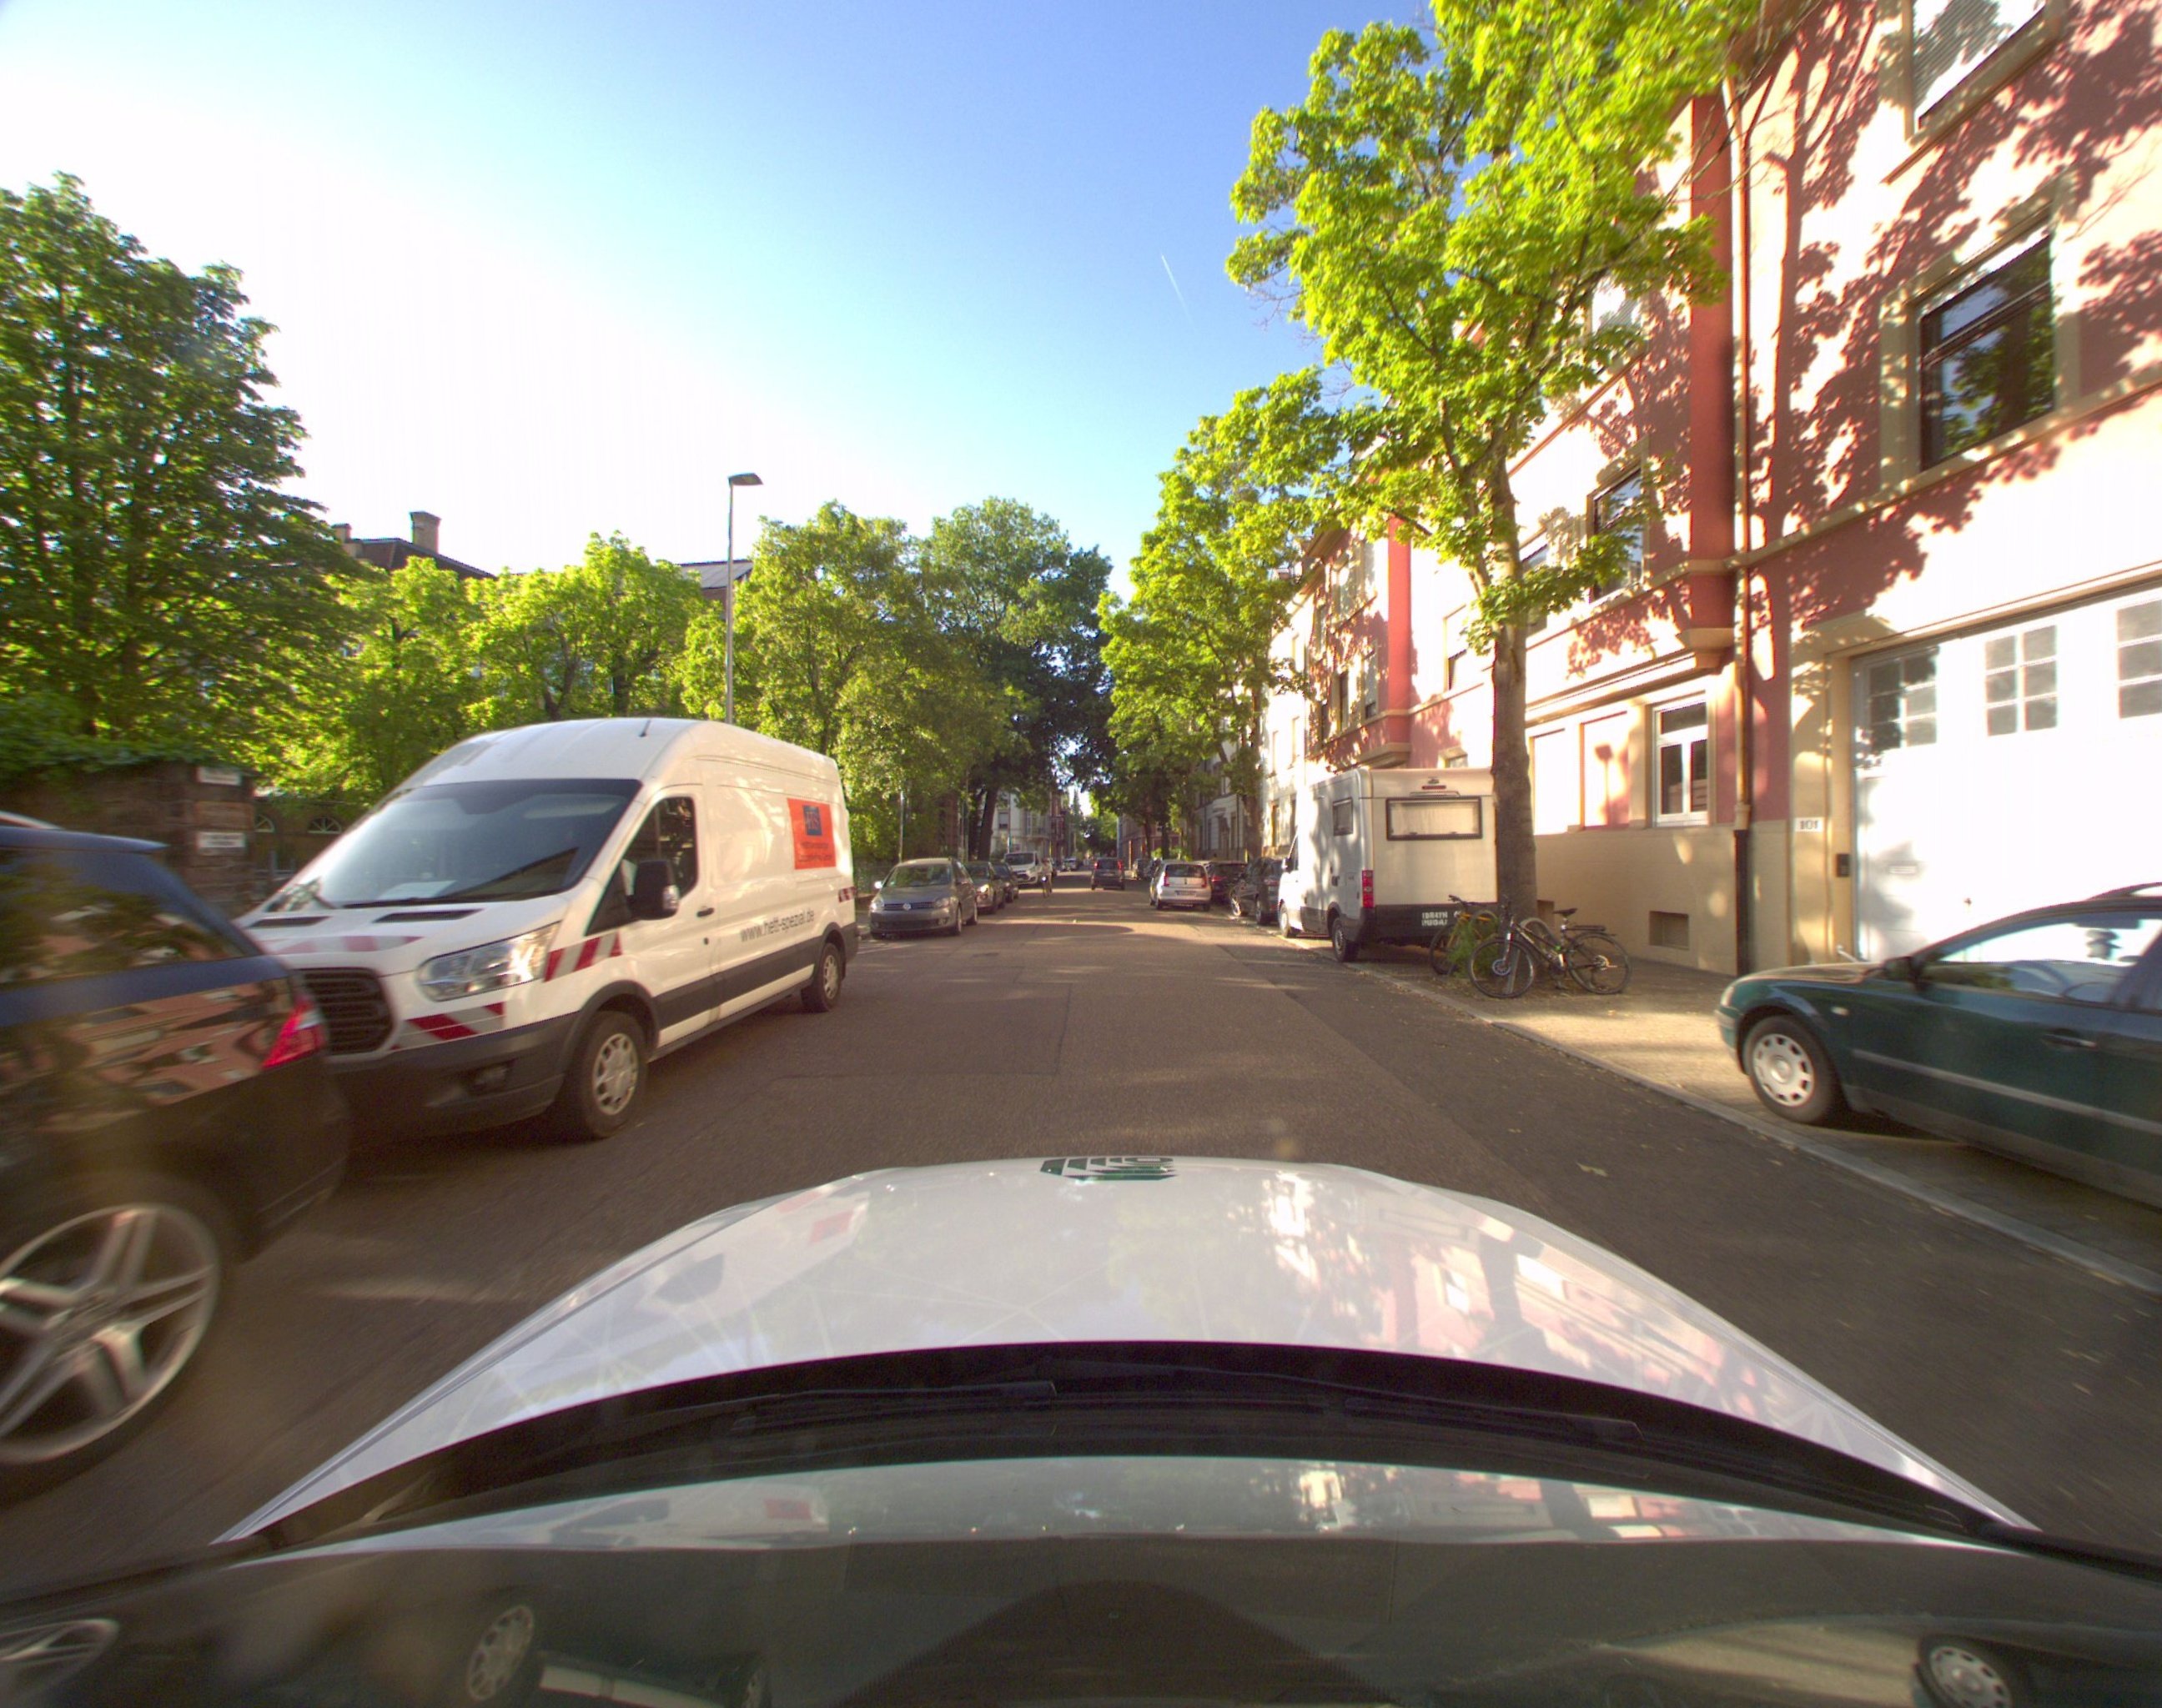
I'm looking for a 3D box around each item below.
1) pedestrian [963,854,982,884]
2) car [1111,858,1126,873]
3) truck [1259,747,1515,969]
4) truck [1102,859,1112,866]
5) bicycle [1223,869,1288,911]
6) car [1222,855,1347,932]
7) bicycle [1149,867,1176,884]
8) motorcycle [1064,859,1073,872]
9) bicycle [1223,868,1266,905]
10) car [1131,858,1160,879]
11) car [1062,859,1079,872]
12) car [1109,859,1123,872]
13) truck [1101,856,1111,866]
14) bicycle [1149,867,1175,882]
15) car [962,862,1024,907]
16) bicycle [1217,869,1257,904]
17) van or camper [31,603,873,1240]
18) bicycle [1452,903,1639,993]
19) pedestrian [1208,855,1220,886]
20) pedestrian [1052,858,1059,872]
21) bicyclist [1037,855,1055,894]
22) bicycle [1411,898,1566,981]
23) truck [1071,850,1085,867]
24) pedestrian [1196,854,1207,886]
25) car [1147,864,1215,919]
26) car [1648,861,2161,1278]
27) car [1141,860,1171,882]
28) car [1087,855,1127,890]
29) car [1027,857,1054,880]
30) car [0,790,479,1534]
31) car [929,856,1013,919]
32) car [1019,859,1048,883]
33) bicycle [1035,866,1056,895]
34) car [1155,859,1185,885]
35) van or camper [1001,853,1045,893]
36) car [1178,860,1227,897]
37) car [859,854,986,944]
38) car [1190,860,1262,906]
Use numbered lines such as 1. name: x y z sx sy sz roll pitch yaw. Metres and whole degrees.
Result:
1. pedestrian: -5.749 0.800 43.239 0.878 1.577 0.529 1 -1 1
2. car: 4.337 1.325 94.441 1.657 1.669 3.758 1 0 2
3. truck: 4.892 0.058 14.306 2.067 2.968 6.107 -3 0 0
4. truck: 5.039 1.636 157.837 1.987 1.456 4.000 0 0 1
5. bicycle: 5.245 1.071 24.568 1.805 1.167 0.569 -2 0 -1
6. car: 4.993 0.898 20.710 1.880 1.716 4.942 0 0 -1
7. bicycle: 5.359 1.421 53.686 1.763 1.039 0.606 1 0 0
8. motorcycle: -1.440 1.317 93.612 0.696 1.460 1.745 -1 0 -9
9. bicycle: 5.220 1.047 26.021 1.303 1.140 0.328 -1 -1 0
10. car: 5.021 1.134 63.938 1.784 1.551 4.406 0 -1 -2
11. car: -1.258 1.353 96.909 1.790 1.432 3.926 -3 0 2
12. car: 4.231 1.359 98.935 1.657 1.505 3.758 1 0 2
13. truck: 5.065 1.335 163.221 1.987 1.992 4.000 0 0 1
14. bicycle: 5.440 1.403 54.909 1.709 0.949 0.733 -1 0 0
15. car: -3.137 1.060 29.916 1.708 1.395 4.778 -4 0 0
16. bicycle: 4.925 1.028 25.674 1.197 1.076 0.298 -1 -1 -1
17. van or camper: -3.568 0.305 6.572 2.121 2.769 5.851 -2 0 0
18. bicycle: 5.227 1.044 9.228 1.778 0.949 0.579 0 0 2
19. pedestrian: 7.279 0.887 44.581 0.593 1.701 0.689 0 0 2
20. pedestrian: -3.325 1.437 105.271 0.718 1.839 0.628 1 0 11
21. bicyclist: -1.367 0.813 31.878 0.649 1.509 0.625 0 0 2
22. bicycle: 5.275 1.093 10.591 1.700 1.000 0.705 0 -1 -6
23. truck: -0.531 0.846 149.530 2.063 2.926 5.069 -4 0 1
24. pedestrian: 6.619 0.867 44.744 0.518 1.735 0.878 0 0 2
25. car: 3.082 1.126 25.787 1.673 1.544 3.799 1 0 0
26. car: 4.958 0.823 3.552 1.744 1.529 4.783 -1 0 2
27. car: 5.319 1.168 58.268 1.607 1.478 3.865 0 0 -4
28. car: 1.201 0.861 39.231 1.629 1.550 3.260 -1 0 -4
29. car: -2.985 1.052 60.249 1.820 1.554 4.130 -4 0 -2
30. car: -3.409 0.726 0.800 1.869 1.685 4.969 -2 0 0
31. car: -3.092 0.901 23.619 1.670 1.572 4.153 -3 0 1
32. car: -3.179 1.103 54.866 1.596 1.460 4.027 -3 0 0
33. bicycle: -1.365 1.020 31.799 0.662 1.077 1.686 0 0 3
34. car: 5.446 1.064 50.166 1.515 1.511 3.544 0 0 1
35. van or camper: -3.076 0.987 44.448 1.916 1.980 5.460 -3 0 0
36. car: 5.201 1.026 35.333 1.591 1.488 3.748 -1 0 1
37. car: -3.210 0.846 17.414 1.774 1.591 4.468 -2 0 0
38. car: 5.087 0.971 29.111 1.781 1.514 4.459 1 0 0
